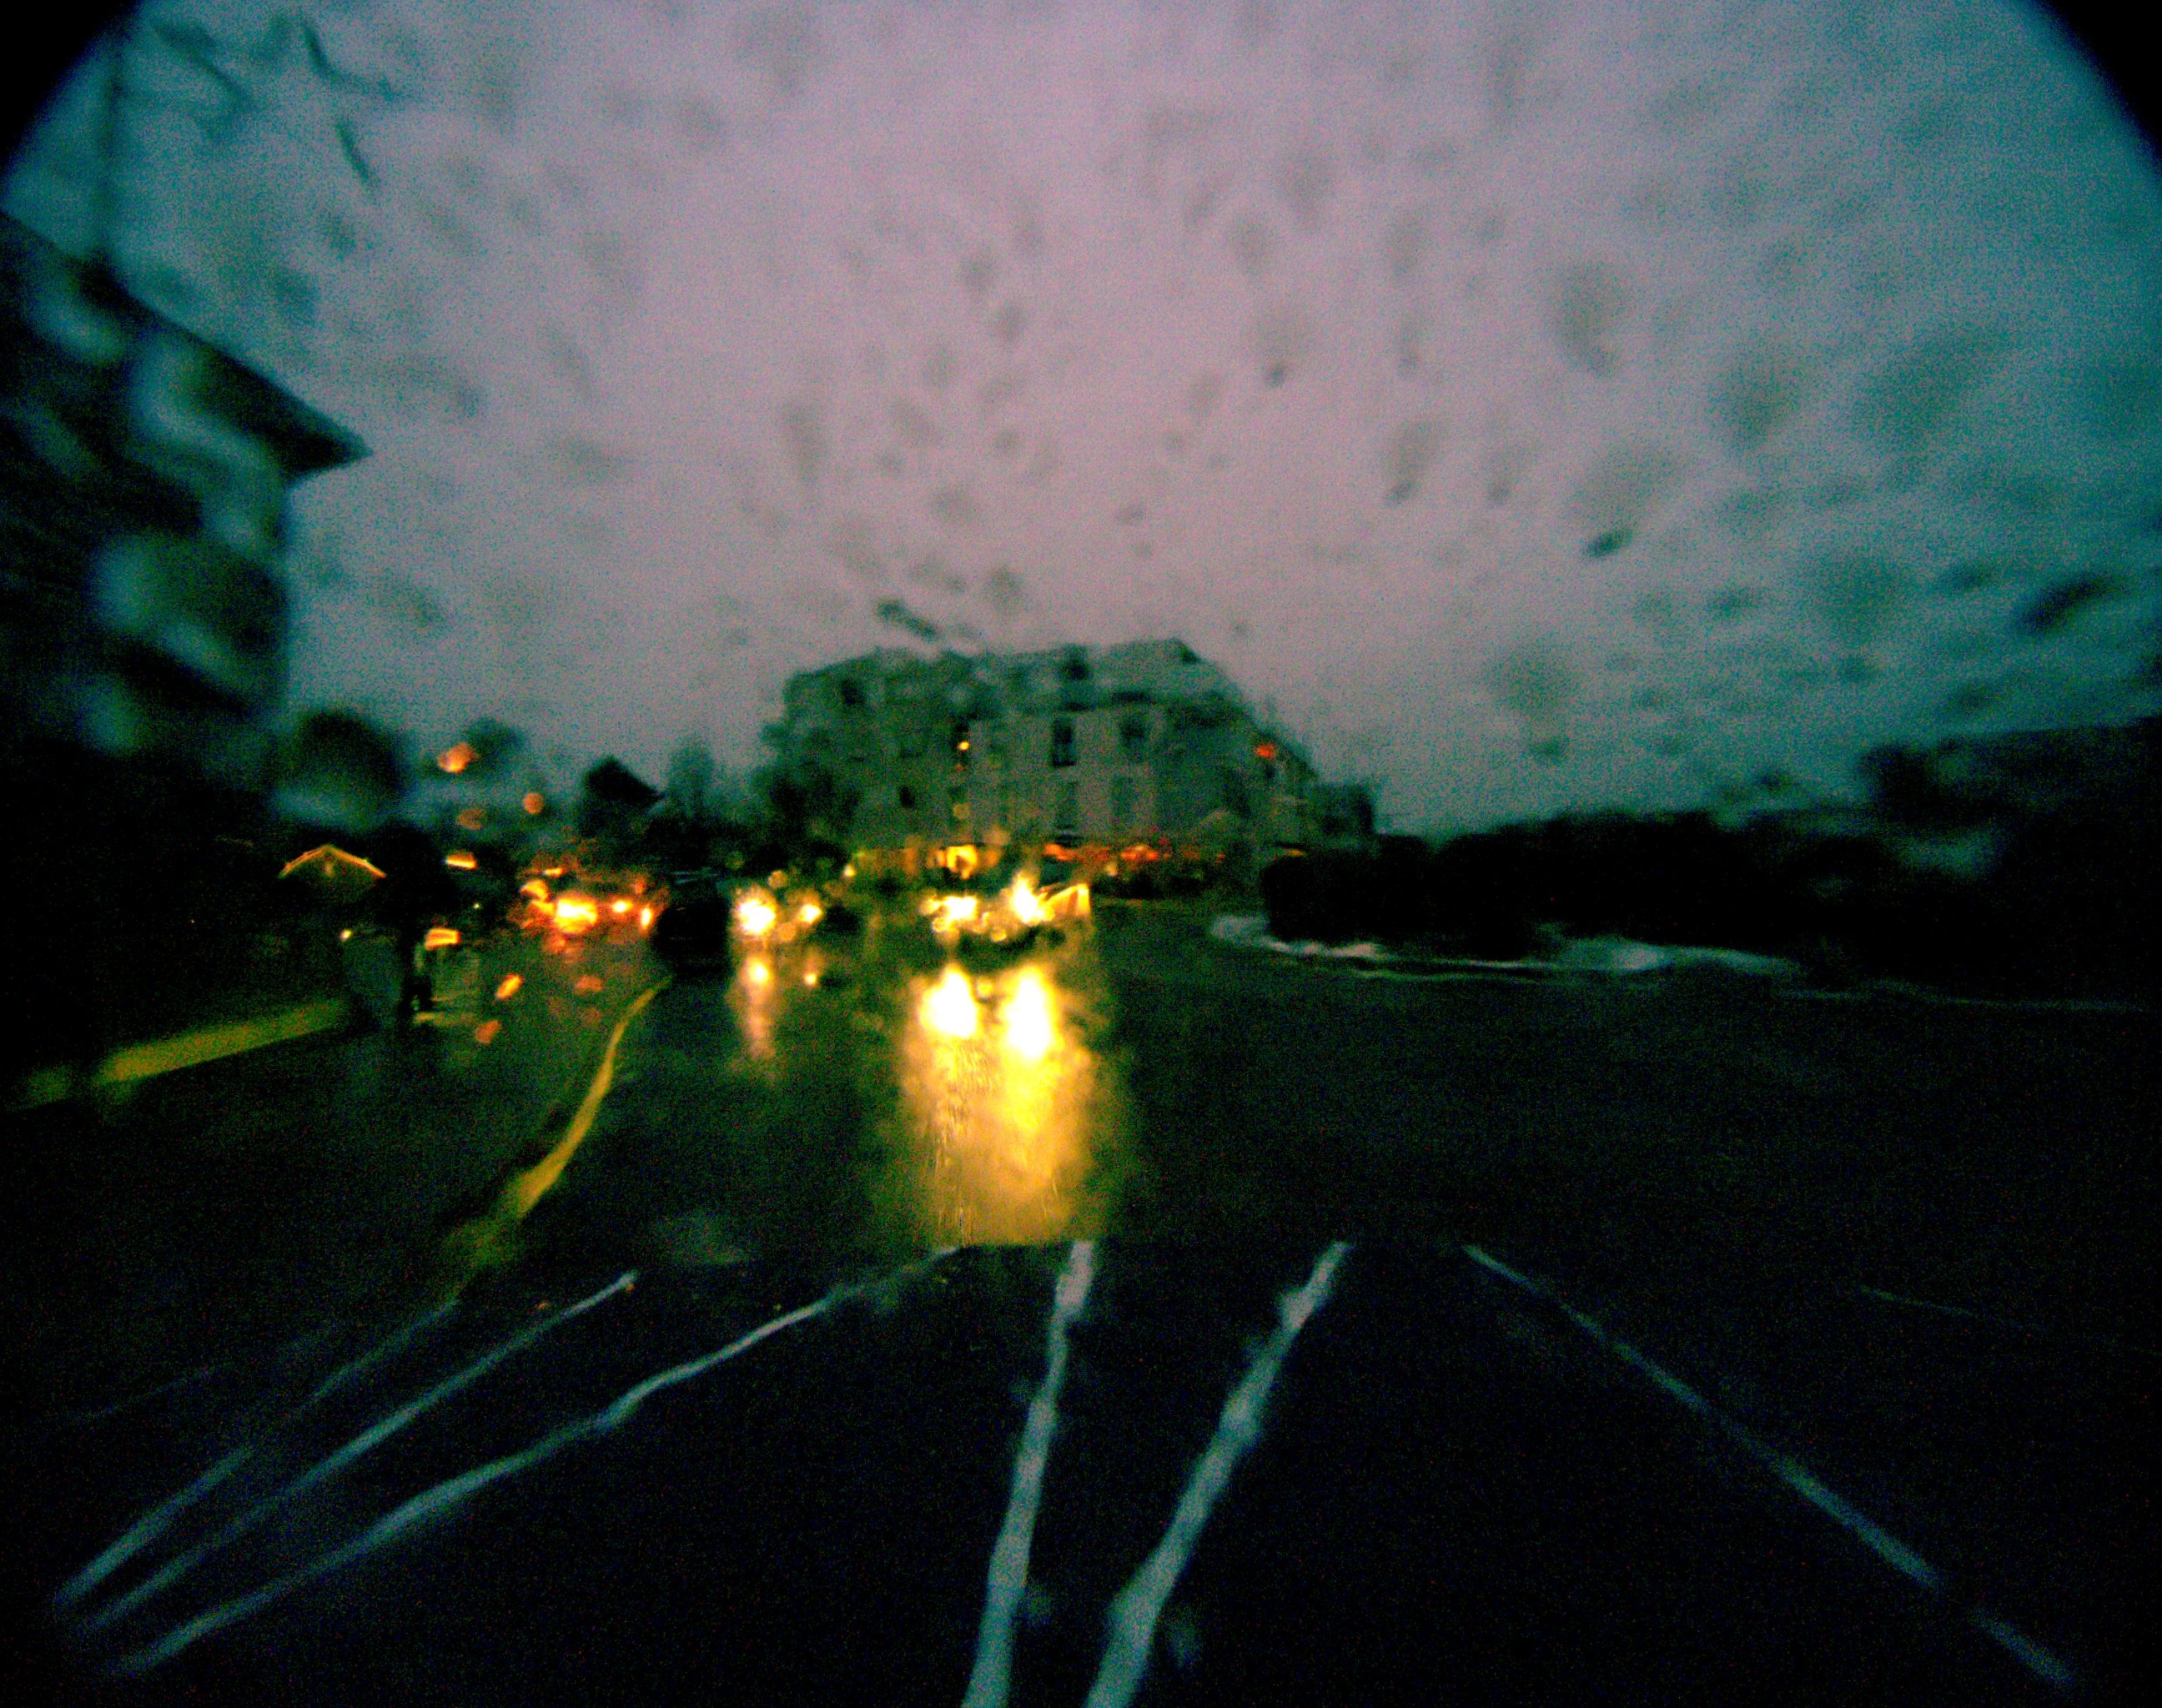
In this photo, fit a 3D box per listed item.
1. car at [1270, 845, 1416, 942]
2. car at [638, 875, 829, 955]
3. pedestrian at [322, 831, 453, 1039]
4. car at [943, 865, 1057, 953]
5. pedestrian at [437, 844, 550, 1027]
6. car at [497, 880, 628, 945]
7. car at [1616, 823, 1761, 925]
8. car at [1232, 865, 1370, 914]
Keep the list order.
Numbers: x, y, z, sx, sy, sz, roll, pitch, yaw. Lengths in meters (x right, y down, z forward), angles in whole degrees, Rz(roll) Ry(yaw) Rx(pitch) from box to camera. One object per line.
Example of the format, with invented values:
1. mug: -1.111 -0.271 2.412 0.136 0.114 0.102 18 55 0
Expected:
1. car: 4.673 0.624 14.050 2.169 1.469 4.004 -2 1 15
2. car: -7.569 1.267 16.469 4.009 1.471 1.767 -2 0 32
3. pedestrian: -6.660 0.726 7.347 0.710 1.855 0.790 -3 1 -31
4. car: -1.554 1.042 15.997 1.958 1.575 4.110 -1 -1 -1
5. pedestrian: -6.050 0.792 7.878 0.769 1.751 0.790 -3 1 -31
6. car: -13.590 1.456 19.846 3.653 1.447 1.760 -2 1 38
7. car: 13.510 0.349 17.190 2.054 1.975 4.545 -2 1 33
8. car: 7.571 1.208 26.373 4.272 1.436 1.561 -2 1 -1
